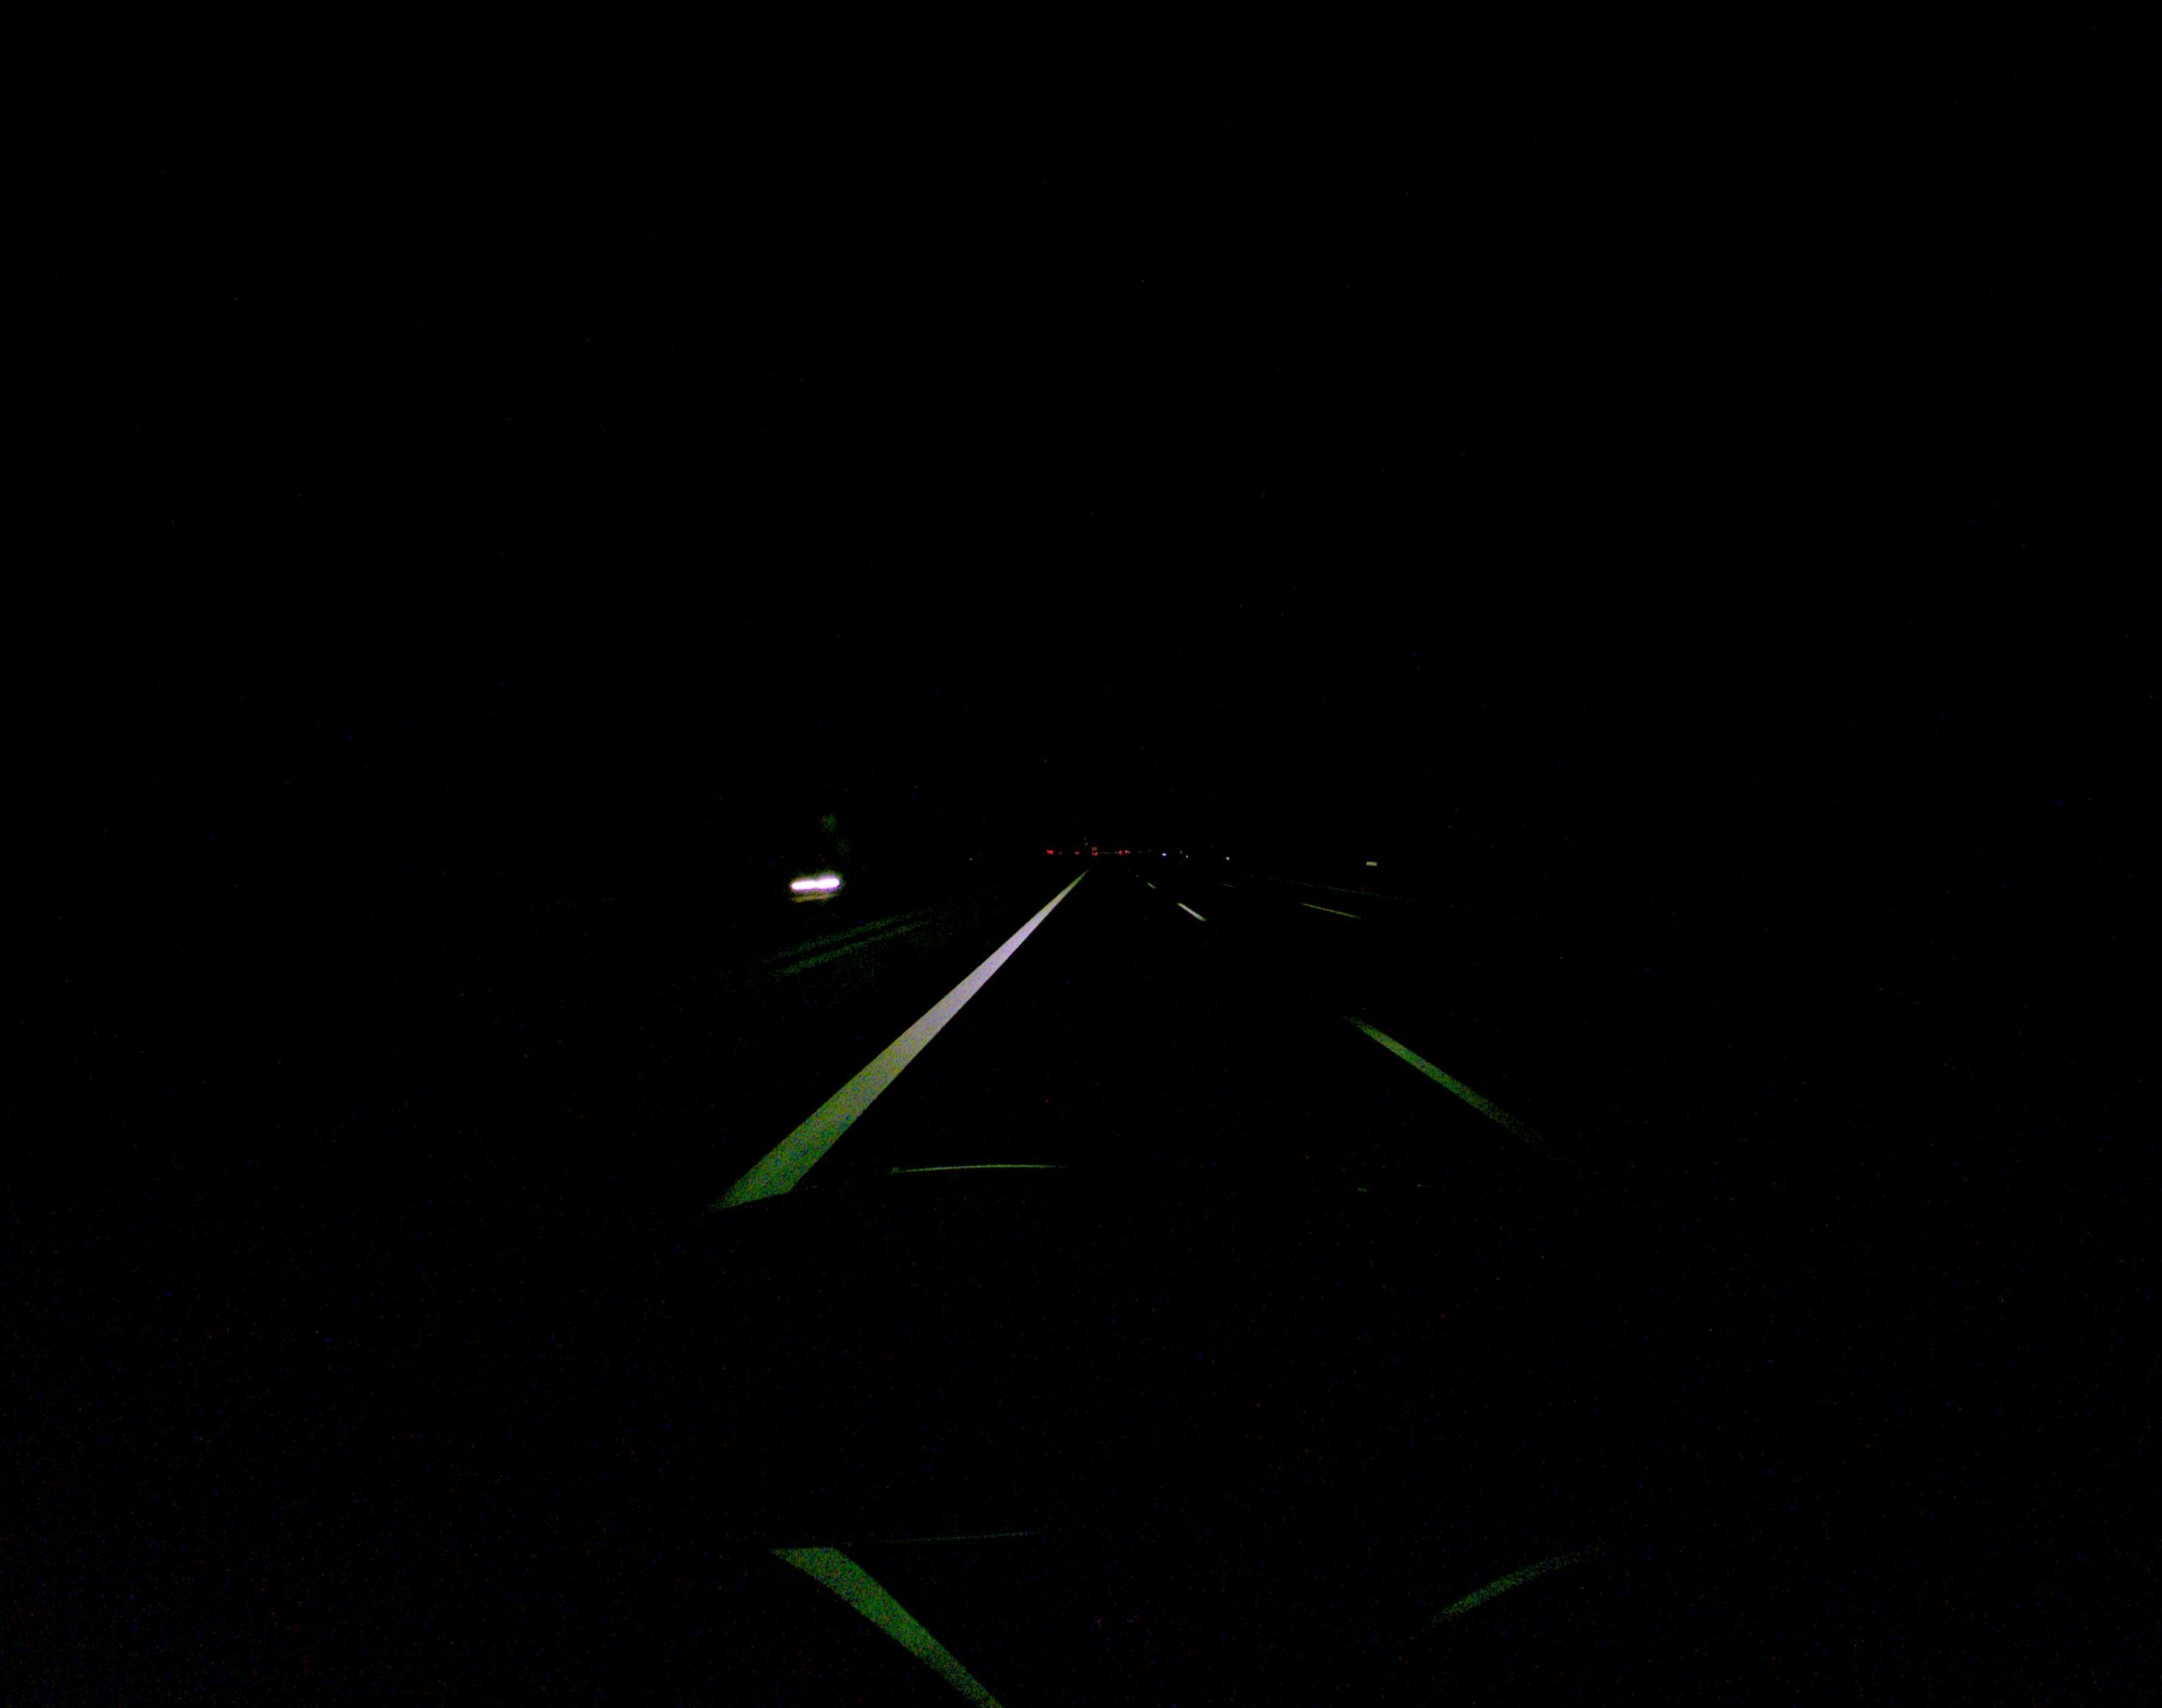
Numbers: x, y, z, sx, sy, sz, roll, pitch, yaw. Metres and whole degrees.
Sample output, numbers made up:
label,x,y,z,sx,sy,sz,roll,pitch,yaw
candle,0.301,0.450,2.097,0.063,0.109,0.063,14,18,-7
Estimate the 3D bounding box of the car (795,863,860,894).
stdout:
label,x,y,z,sx,sy,sz,roll,pitch,yaw
car,-14.649,1.371,47.366,1.986,1.503,5.202,-3,0,1
